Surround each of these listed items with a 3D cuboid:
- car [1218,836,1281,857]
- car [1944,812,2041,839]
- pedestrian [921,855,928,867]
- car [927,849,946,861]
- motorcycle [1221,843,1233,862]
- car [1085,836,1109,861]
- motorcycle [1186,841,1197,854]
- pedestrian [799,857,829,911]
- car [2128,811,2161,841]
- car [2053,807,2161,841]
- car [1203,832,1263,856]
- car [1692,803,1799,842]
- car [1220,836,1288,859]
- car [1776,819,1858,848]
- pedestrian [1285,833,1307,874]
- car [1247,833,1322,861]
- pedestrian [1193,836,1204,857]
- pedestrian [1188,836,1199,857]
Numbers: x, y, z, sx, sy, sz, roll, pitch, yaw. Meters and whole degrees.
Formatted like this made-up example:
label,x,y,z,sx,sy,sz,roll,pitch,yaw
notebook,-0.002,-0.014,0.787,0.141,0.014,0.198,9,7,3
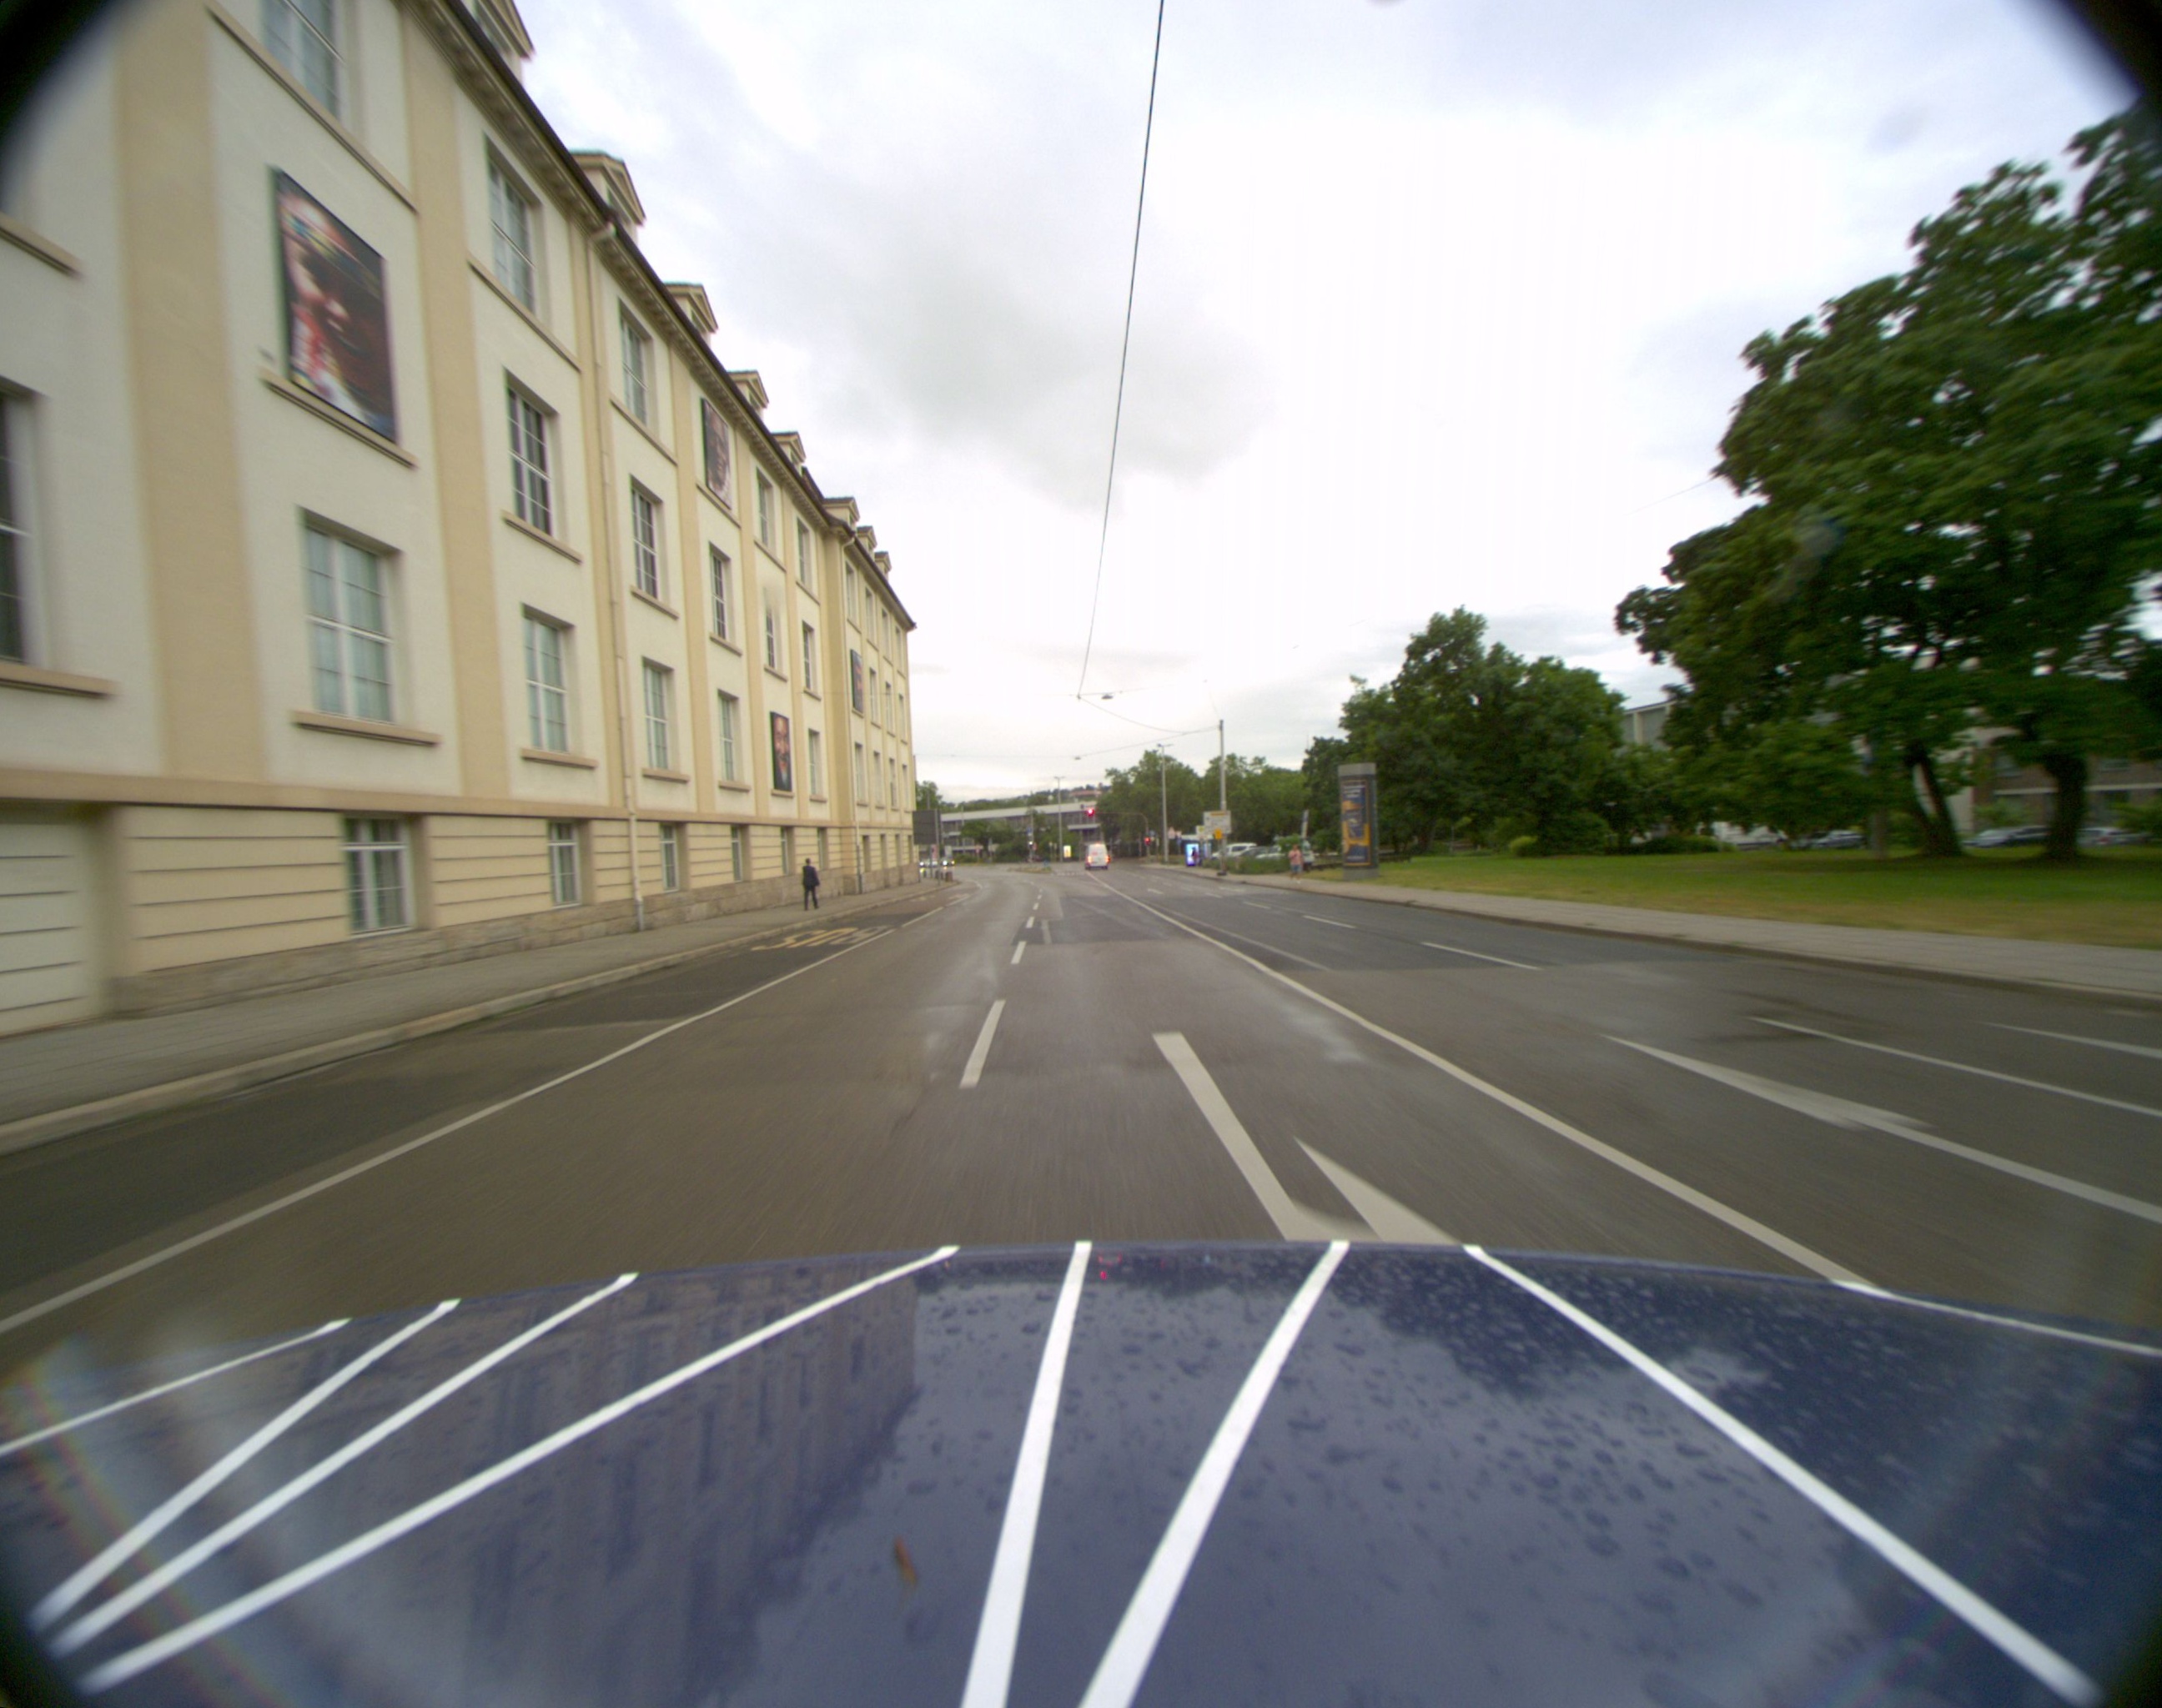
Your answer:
label,x,y,z,sx,sy,sz,roll,pitch,yaw
car,13.103,-0.592,59.227,4.370,1.341,1.907,-3,2,28
car,54.628,-1.694,45.589,3.933,1.367,1.782,-4,2,-5
pedestrian,-24.240,1.024,117.607,0.903,1.786,0.541,-4,2,-7
car,-24.089,0.191,126.613,2.079,1.900,4.554,-2,1,-23
motorcycle,9.934,-0.100,51.784,0.516,1.240,1.267,-4,2,0
car,1.621,-0.594,79.880,1.988,2.515,5.629,-2,1,-4
motorcycle,10.750,-0.635,74.029,0.516,1.240,1.265,-4,2,-16
pedestrian,-9.167,1.020,26.117,0.672,1.788,0.851,-2,2,0
car,55.125,-1.475,37.896,3.849,1.342,1.654,-4,2,-5
car,55.144,-1.587,40.755,3.998,1.510,1.797,-4,2,-5
car,13.380,-0.876,66.932,4.711,1.745,2.019,-3,2,40
car,54.683,-2.570,62.630,6.207,2.746,2.739,-4,2,2
car,12.864,-0.464,56.591,4.573,1.341,1.907,-3,2,23
car,53.007,-1.467,54.778,3.997,1.740,2.000,-4,0,-2
pedestrian,9.177,-0.042,32.490,0.671,1.677,0.913,-4,2,5
car,13.297,-0.457,49.908,1.871,1.600,4.515,-5,2,-35
pedestrian,9.948,-0.623,64.131,0.629,1.686,0.642,-4,2,-10
pedestrian,9.602,-0.639,64.795,0.686,1.686,0.671,-4,2,-10
